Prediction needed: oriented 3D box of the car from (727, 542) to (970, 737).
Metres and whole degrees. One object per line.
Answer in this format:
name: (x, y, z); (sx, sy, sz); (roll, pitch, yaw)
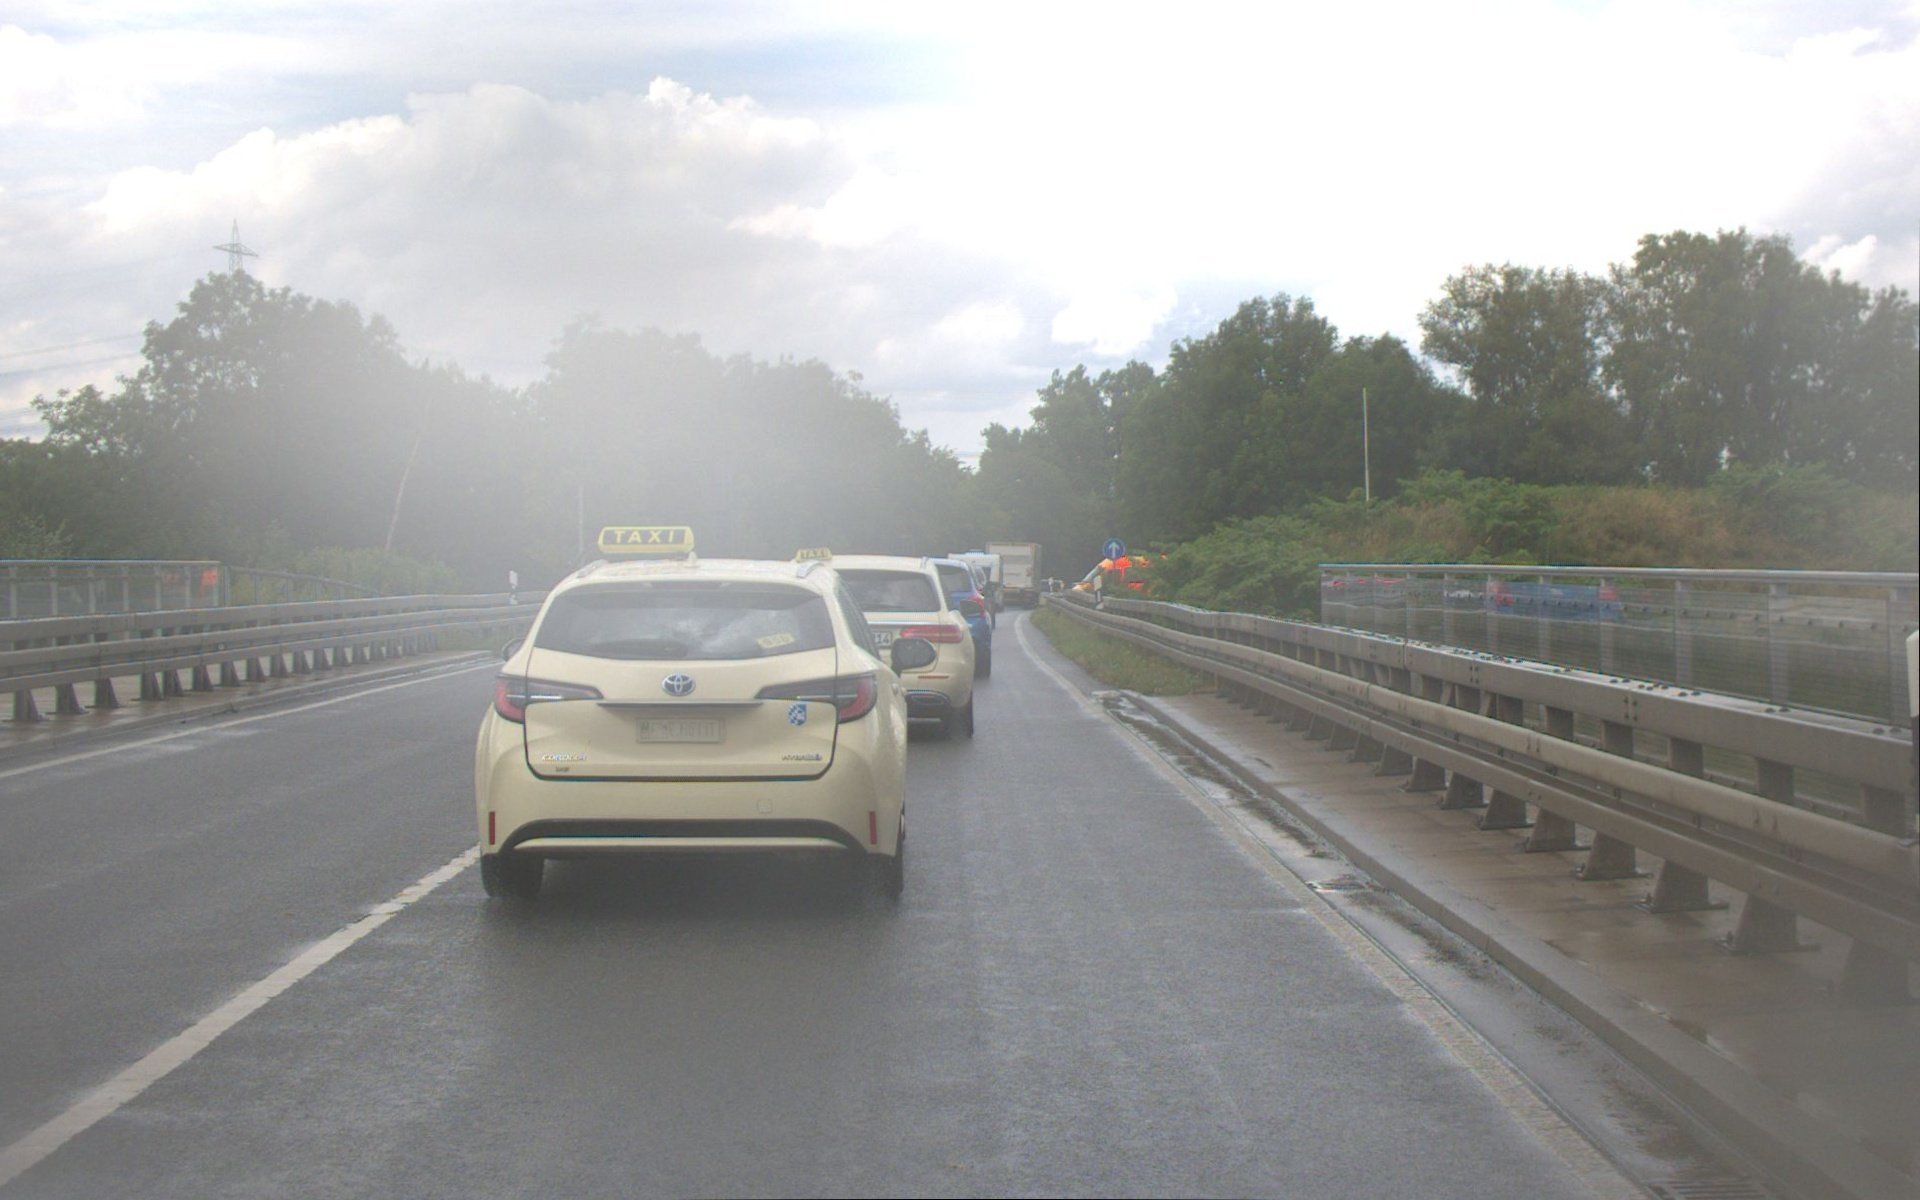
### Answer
car: (-0.871, 0.272, 28.584); (1.854, 1.438, 4.171); (1, 1, 0)

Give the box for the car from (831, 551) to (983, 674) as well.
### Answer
car: (-0.663, 0.128, 44.247); (1.854, 1.438, 4.171); (1, 1, 0)

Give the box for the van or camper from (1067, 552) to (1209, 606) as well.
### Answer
van or camper: (7.596, -0.891, 146.521); (5.676, 2.234, 2.021); (1, 1, -14)

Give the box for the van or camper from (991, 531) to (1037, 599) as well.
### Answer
van or camper: (2.879, -1.888, 182.777); (2.333, 3.550, 6.306); (1, 1, 1)

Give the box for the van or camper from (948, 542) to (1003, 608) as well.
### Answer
van or camper: (0.702, -1.161, 153.145); (2.333, 2.854, 6.306); (1, 1, 1)

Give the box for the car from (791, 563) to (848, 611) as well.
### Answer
car: (-4.540, -0.399, 111.616); (1.713, 1.511, 3.860); (1, 0, -1)

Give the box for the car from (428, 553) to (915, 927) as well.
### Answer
car: (-1.156, 0.520, 15.515); (1.854, 1.389, 4.171); (1, 1, 0)
